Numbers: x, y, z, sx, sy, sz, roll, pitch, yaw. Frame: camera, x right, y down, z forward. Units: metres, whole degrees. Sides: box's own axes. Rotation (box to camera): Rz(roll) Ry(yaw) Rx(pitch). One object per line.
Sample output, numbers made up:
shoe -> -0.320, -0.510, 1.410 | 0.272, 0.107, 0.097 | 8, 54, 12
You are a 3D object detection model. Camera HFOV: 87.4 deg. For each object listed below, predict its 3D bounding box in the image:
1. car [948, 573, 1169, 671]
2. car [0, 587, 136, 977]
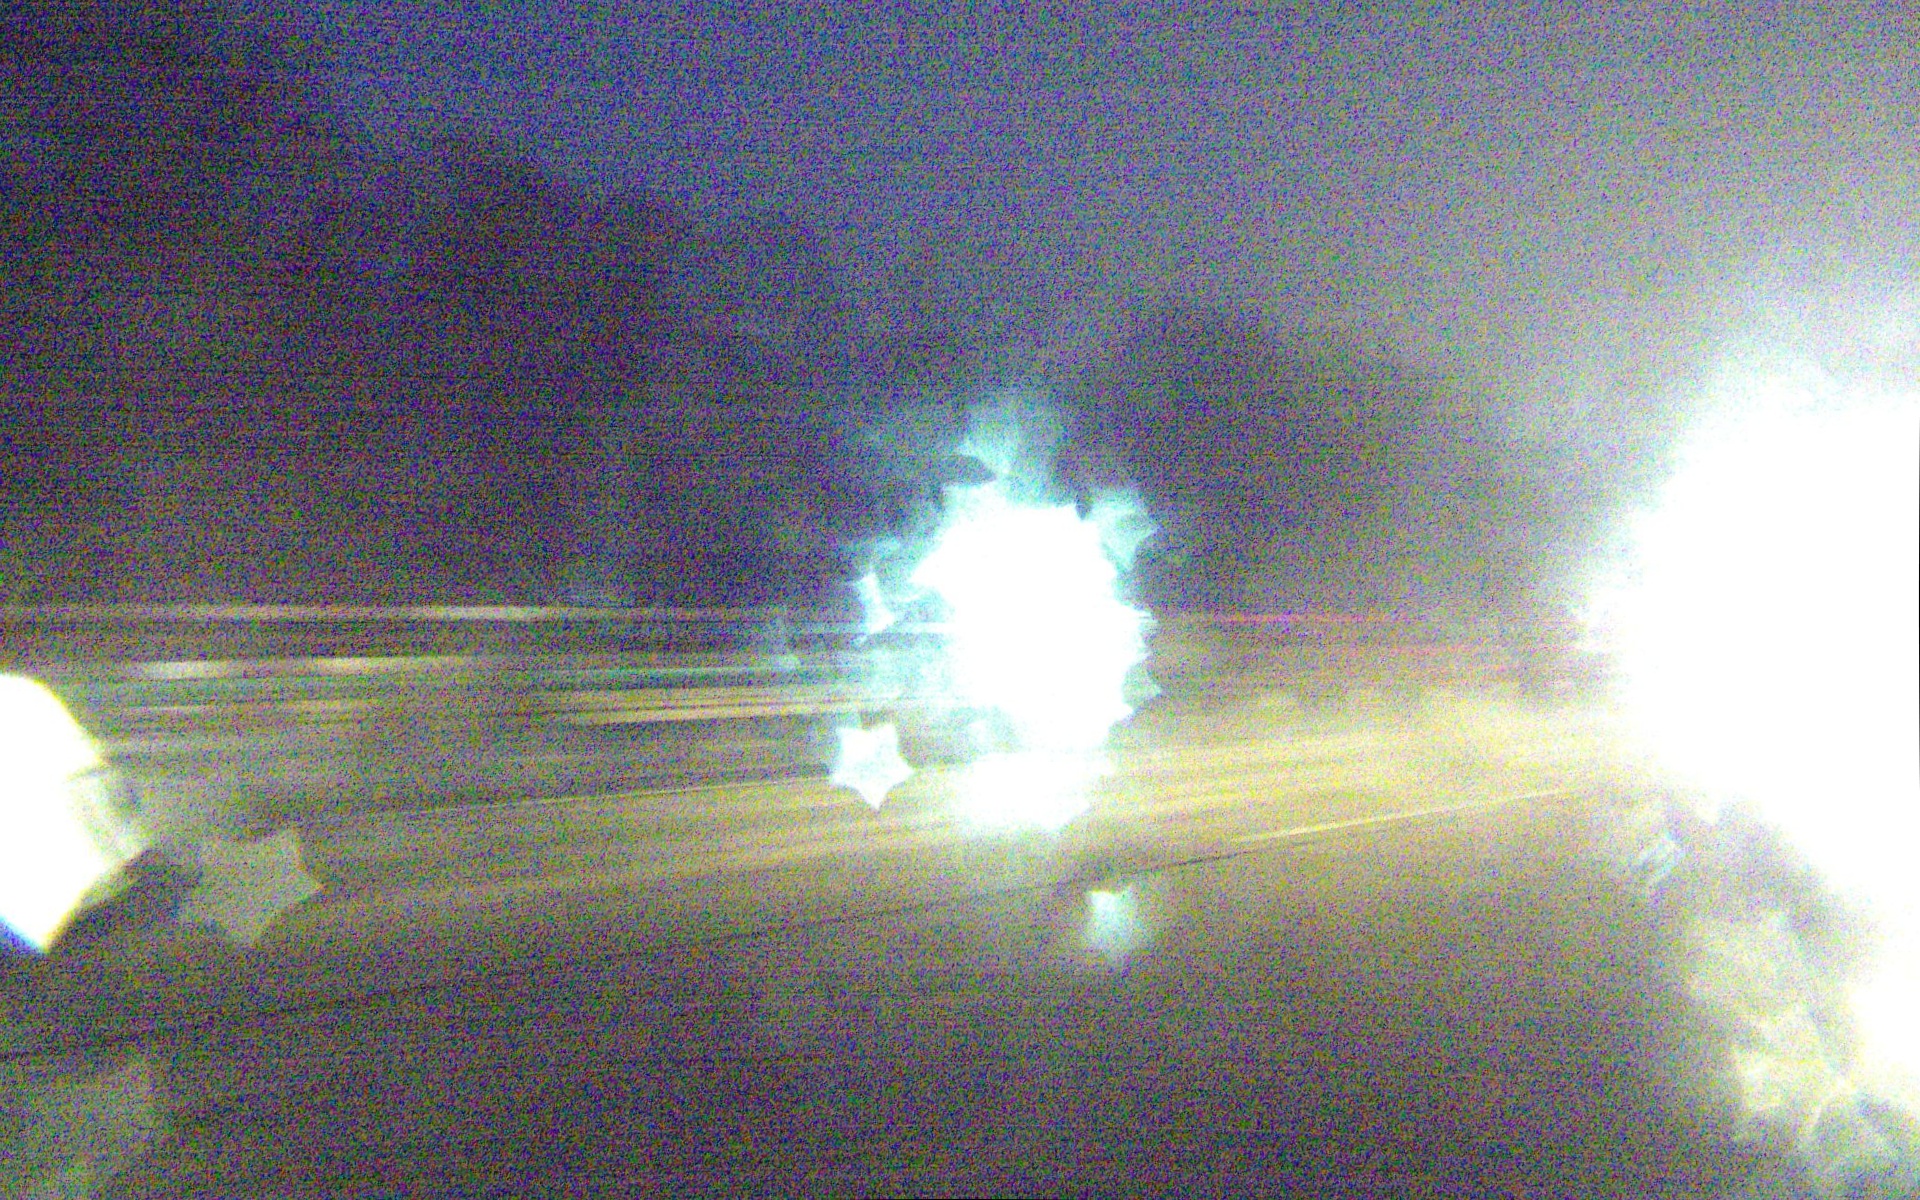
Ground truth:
car -> 2.288, 0.525, 22.958 | 4.756, 2.040, 1.983 | 2, 0, -32
car -> -5.863, 0.726, 3.939 | 3.803, 1.596, 1.642 | 1, -1, -30
